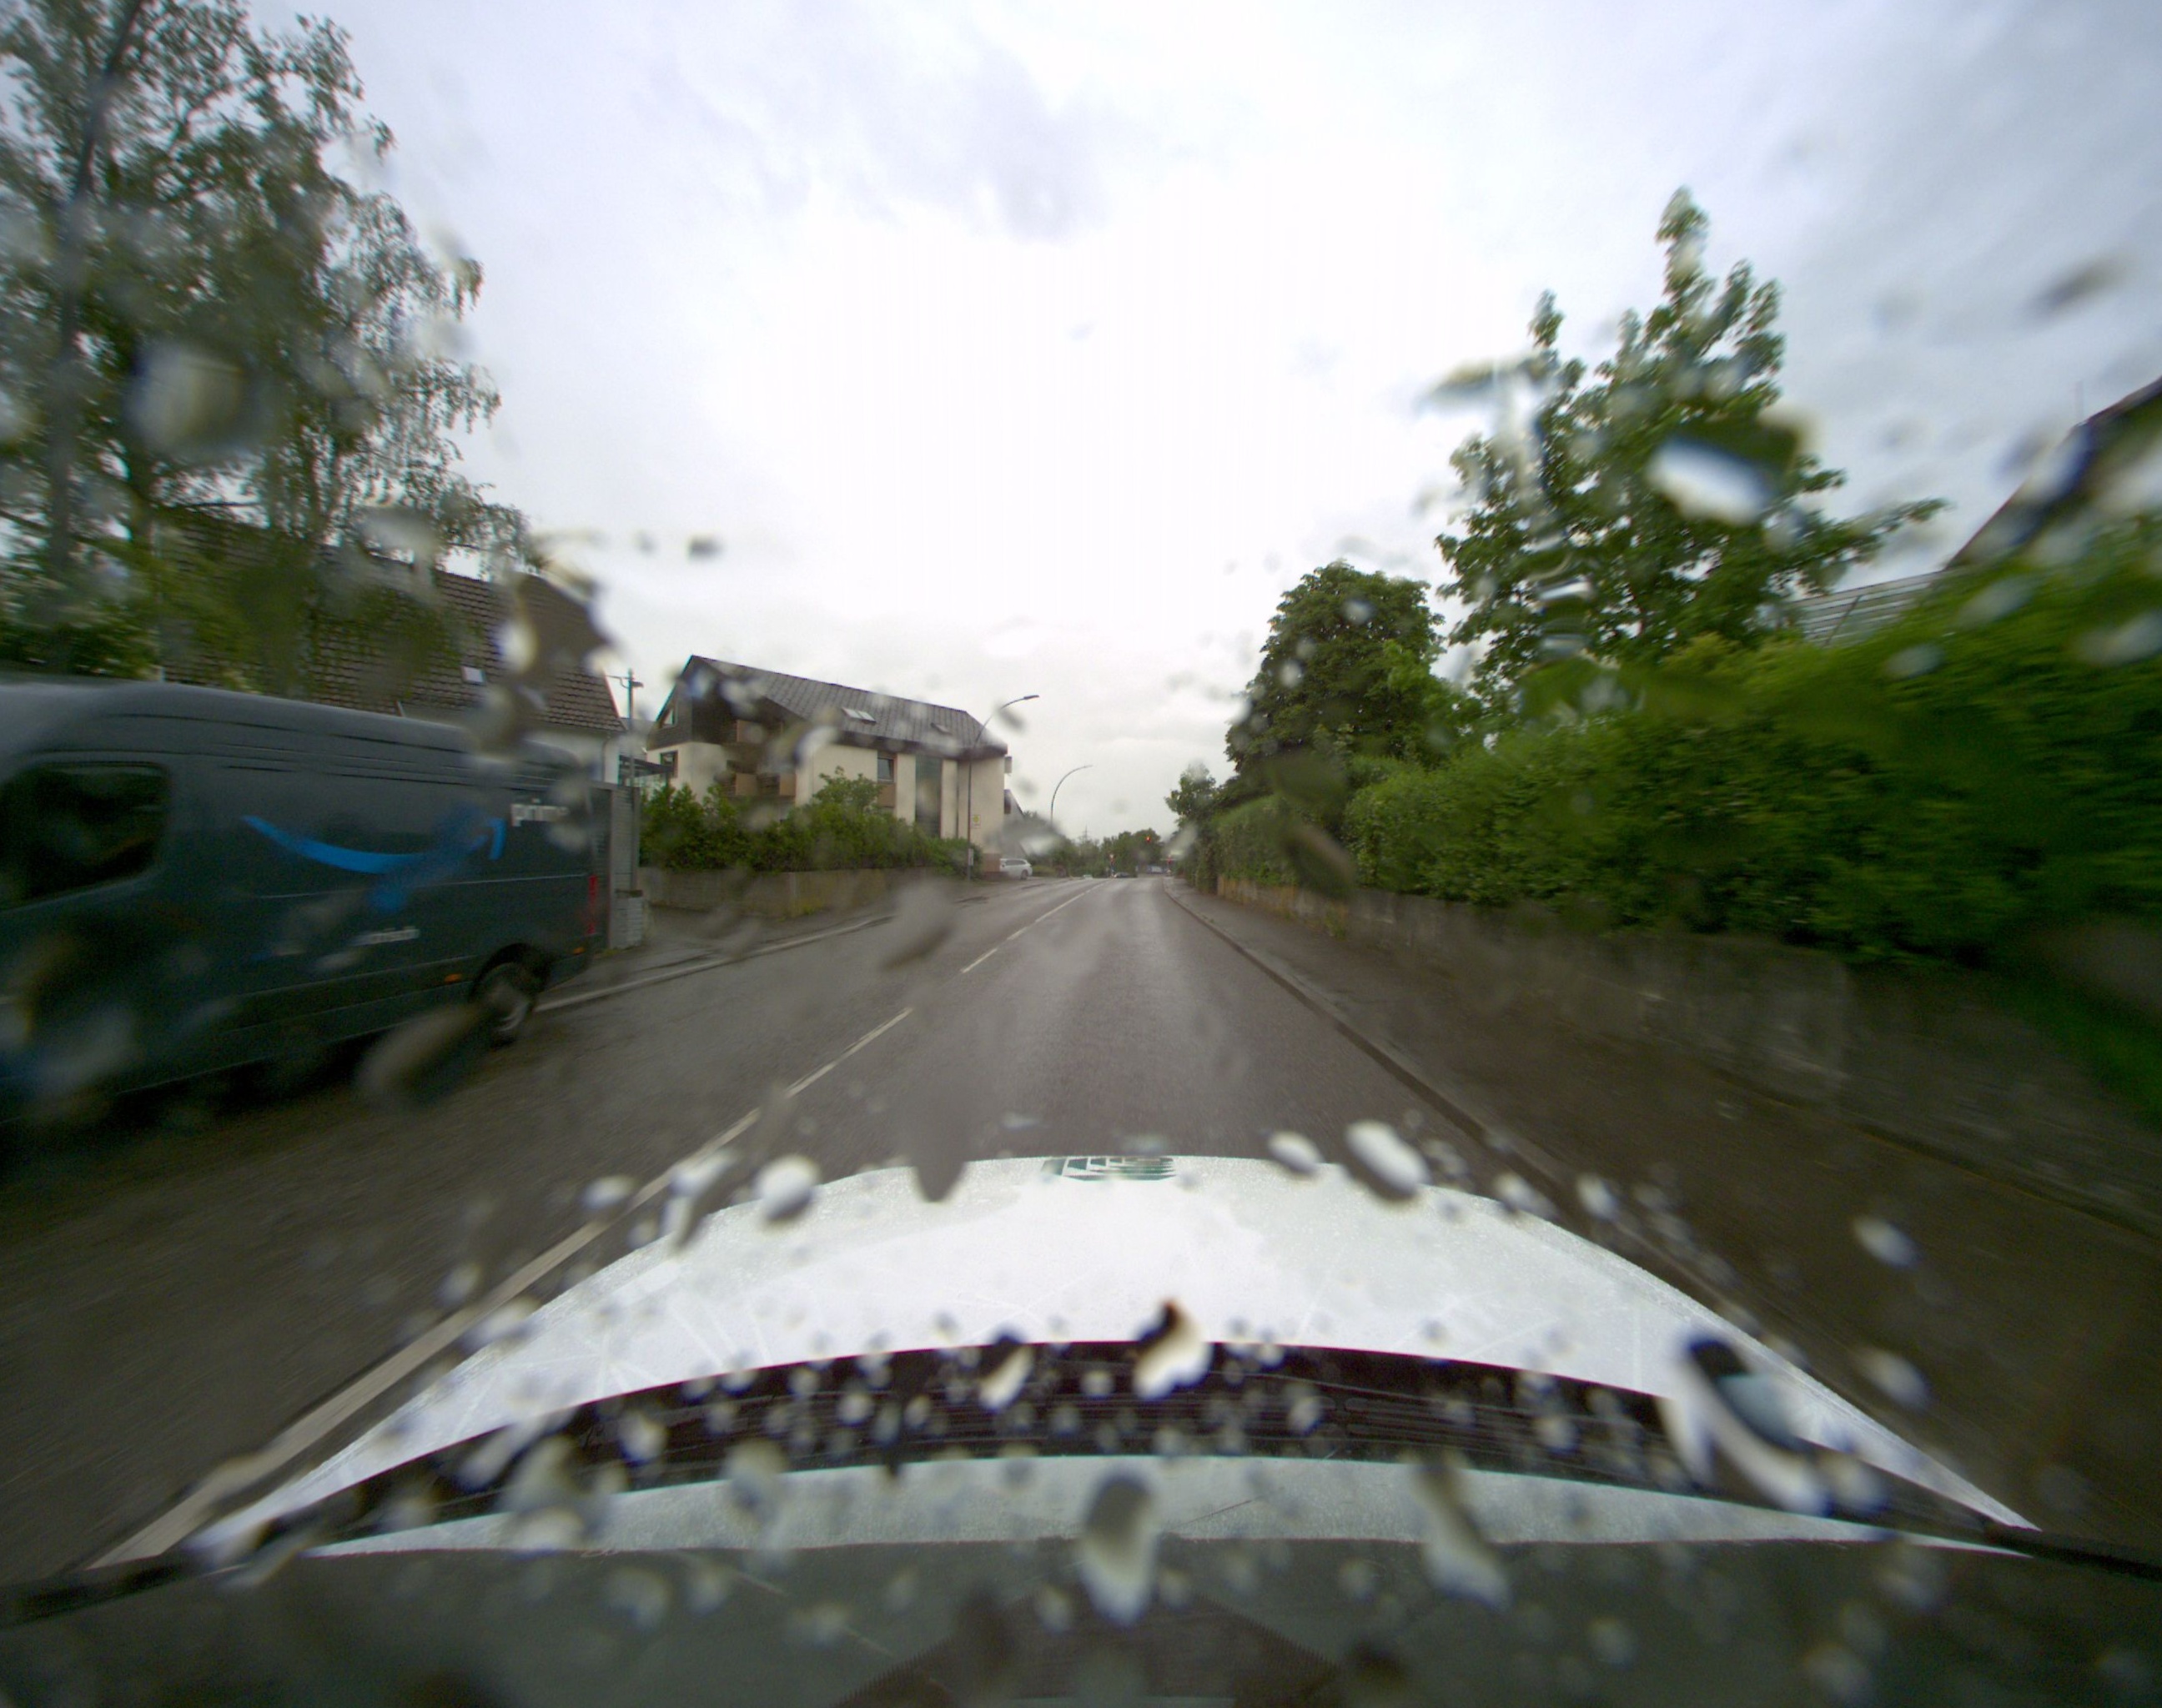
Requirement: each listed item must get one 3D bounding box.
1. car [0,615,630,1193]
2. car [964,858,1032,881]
[{"bbox_3d":[-5.868,0.210,5.347,2.085,2.649,5.925,1,0,4],"label":"car"},{"bbox_3d":[-5.767,1.071,57.313,1.883,1.477,4.912,1,0,38],"label":"car"}]
